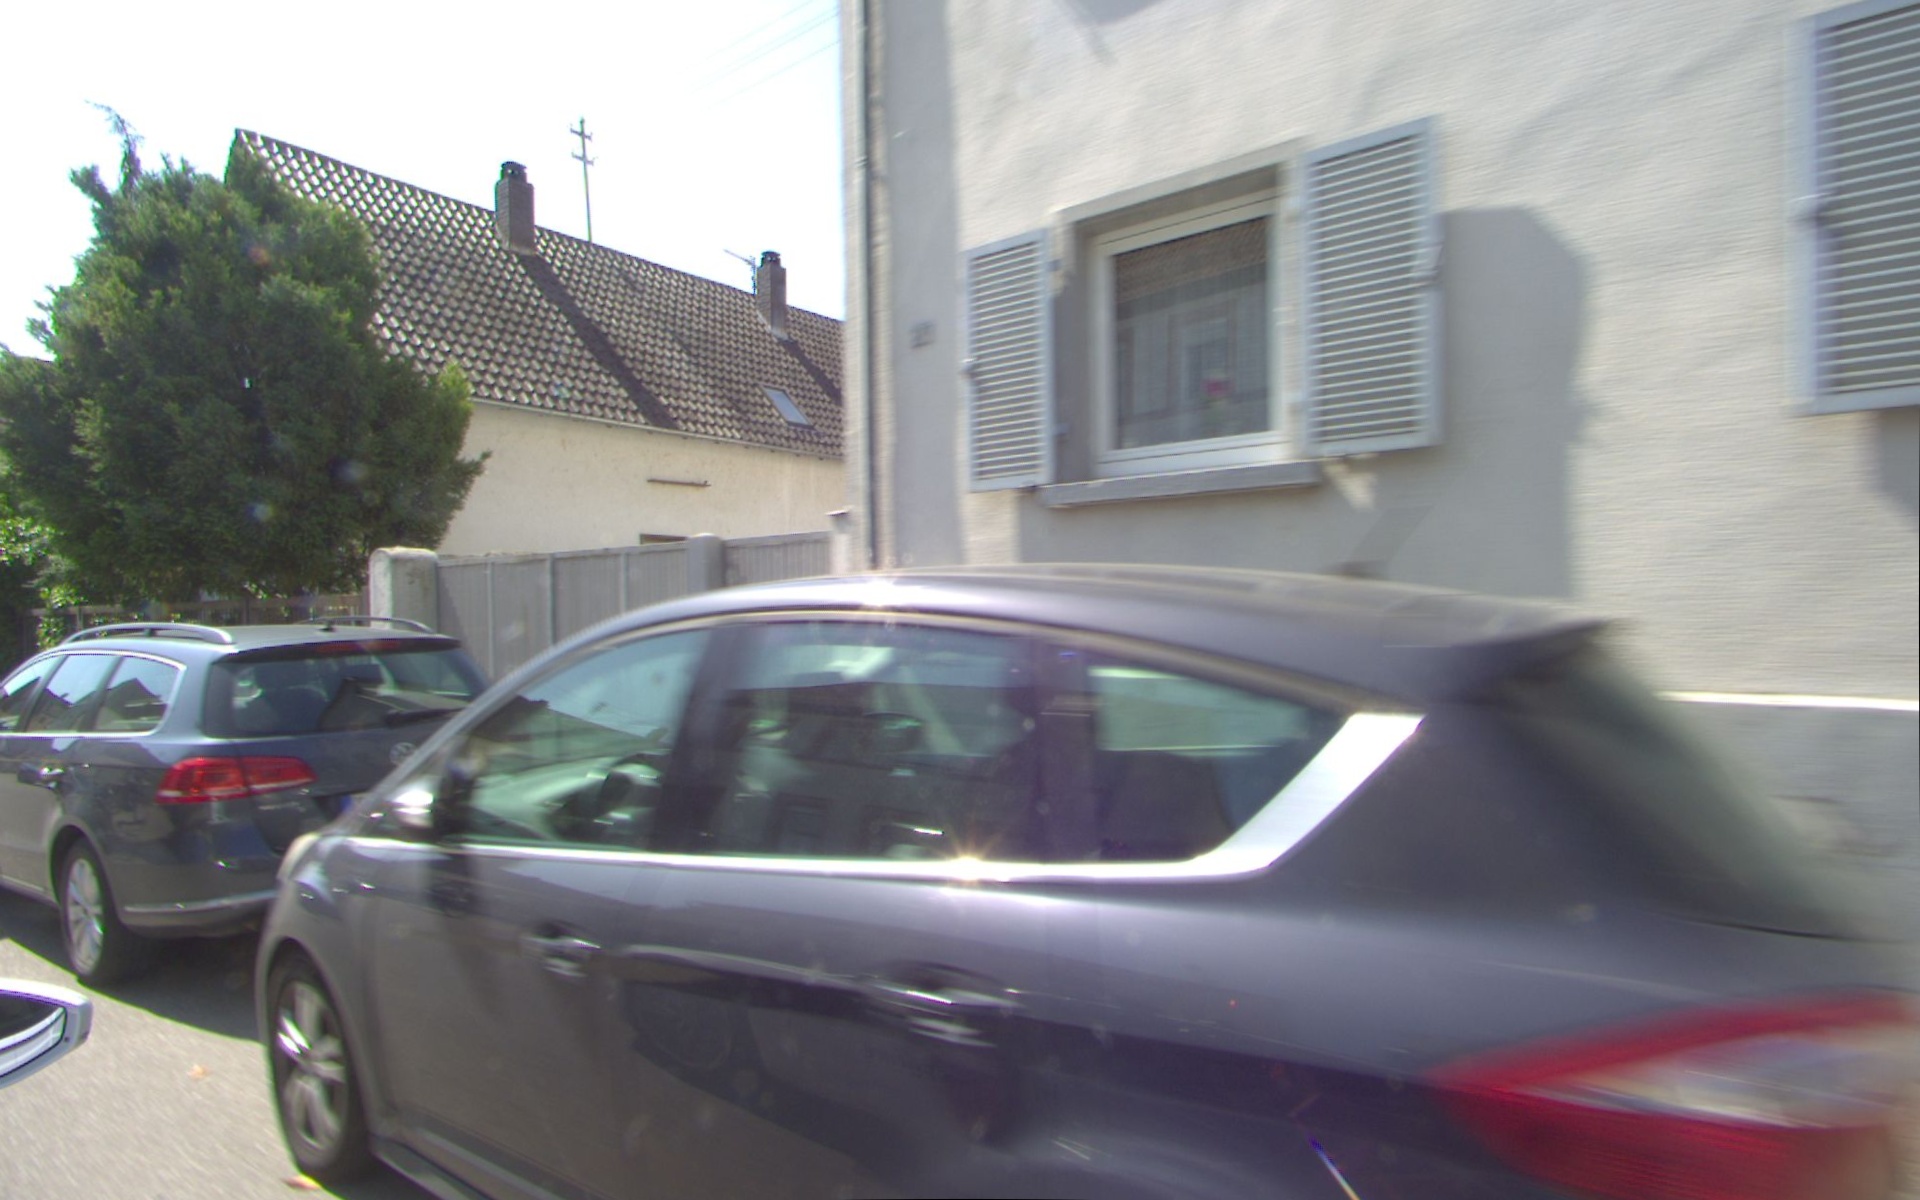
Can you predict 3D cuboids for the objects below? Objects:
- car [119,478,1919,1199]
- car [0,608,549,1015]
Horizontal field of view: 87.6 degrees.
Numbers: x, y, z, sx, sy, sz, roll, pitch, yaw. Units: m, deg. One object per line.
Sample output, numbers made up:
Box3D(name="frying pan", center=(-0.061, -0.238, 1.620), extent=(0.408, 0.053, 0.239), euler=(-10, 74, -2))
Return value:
Box3D(name="car", center=(-0.580, 0.745, 2.845), extent=(4.572, 1.580, 1.791), euler=(-1, 0, 37))
Box3D(name="car", center=(-4.527, 0.846, 5.829), extent=(4.520, 1.528, 1.814), euler=(-1, 0, 35))
